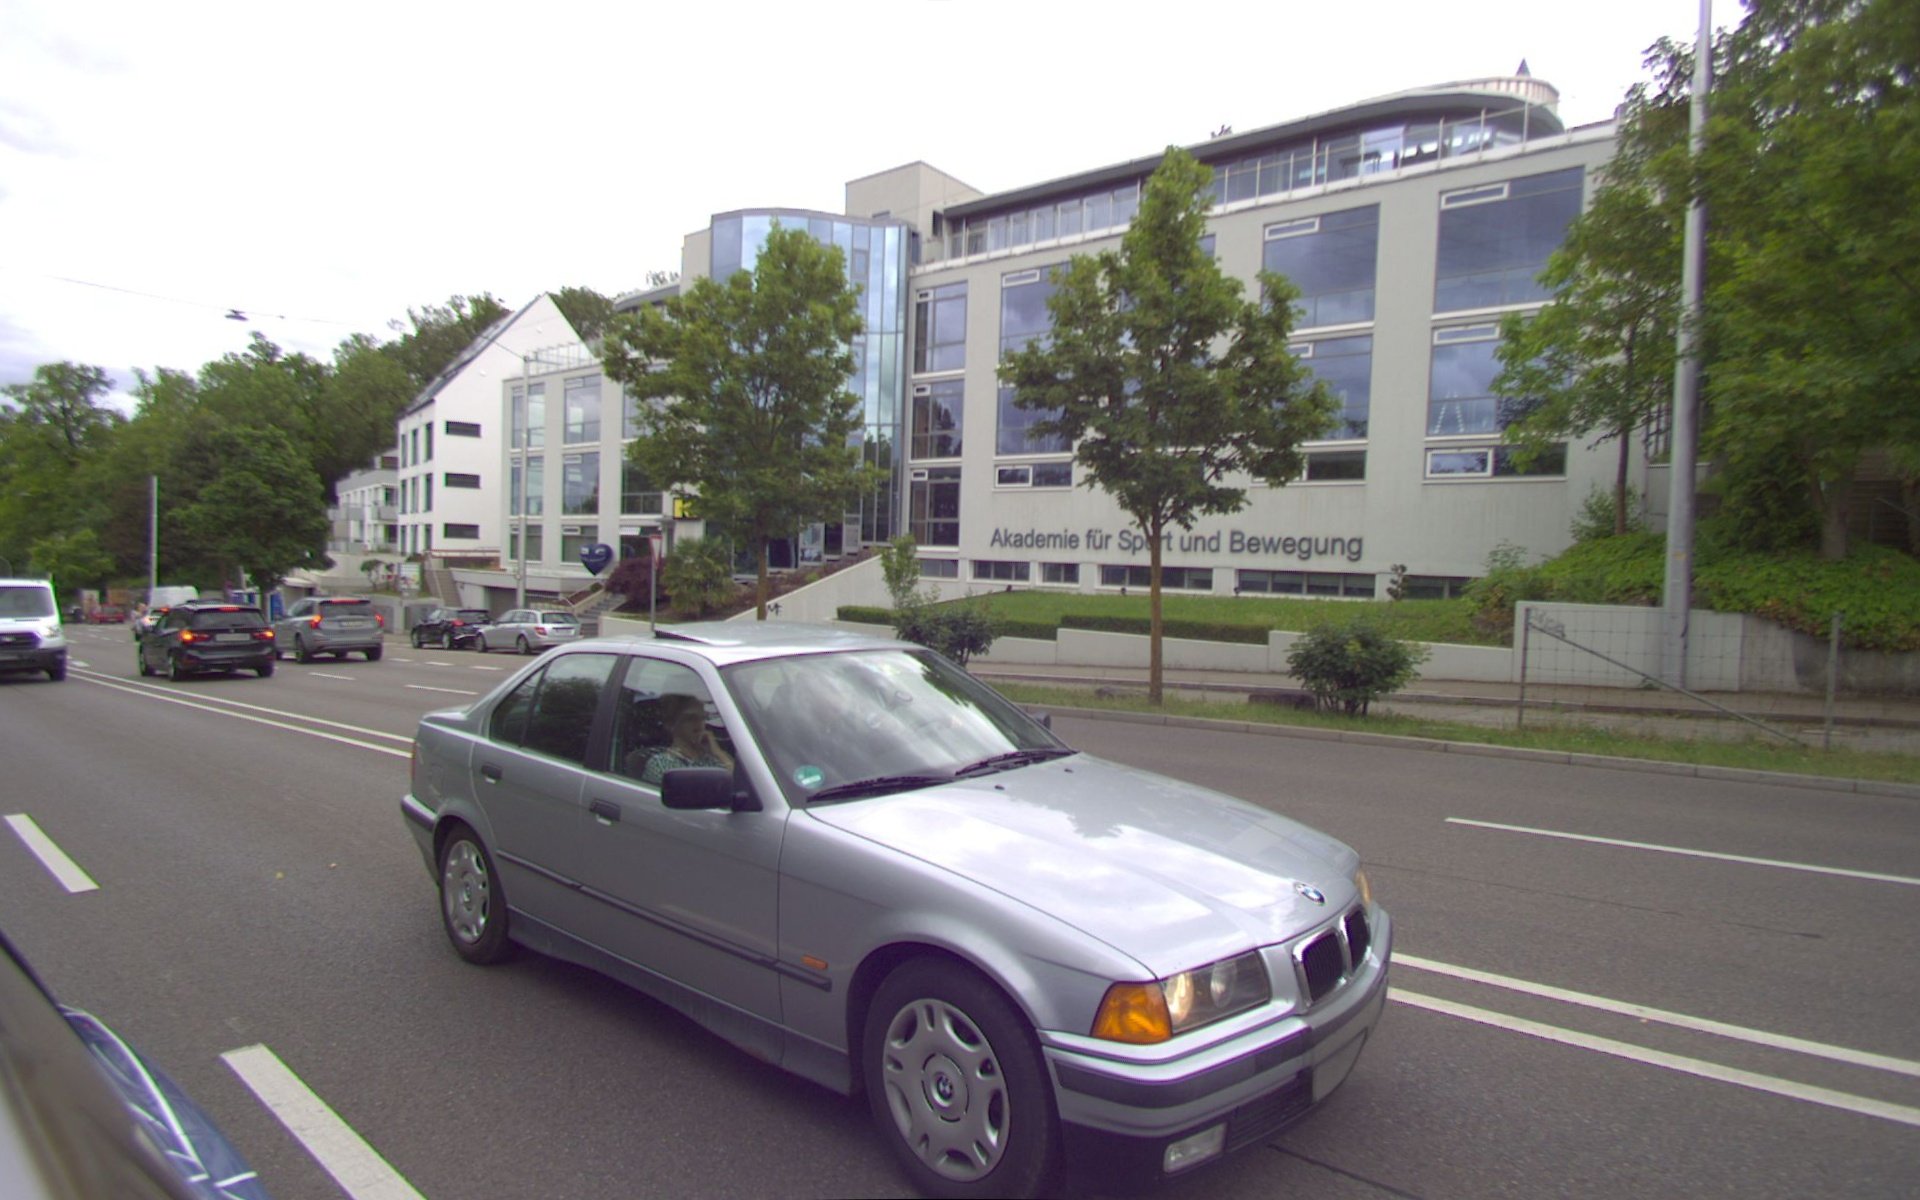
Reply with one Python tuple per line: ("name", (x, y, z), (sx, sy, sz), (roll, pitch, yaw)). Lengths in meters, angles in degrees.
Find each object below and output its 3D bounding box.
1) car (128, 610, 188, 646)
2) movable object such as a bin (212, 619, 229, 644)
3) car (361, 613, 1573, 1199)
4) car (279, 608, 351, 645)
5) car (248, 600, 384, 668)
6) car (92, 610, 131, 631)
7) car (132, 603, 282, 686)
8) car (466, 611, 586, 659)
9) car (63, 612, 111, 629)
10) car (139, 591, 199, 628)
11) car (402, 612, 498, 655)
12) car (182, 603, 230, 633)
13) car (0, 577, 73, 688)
("car", (-37.486, 1.280, 47.283), (1.780, 1.553, 3.924), (0, 0, -45))
("movable object such as a bin", (-34.631, 1.459, 47.377), (0.581, 1.146, 0.646), (-1, 0, -42))
("car", (-0.506, 0.763, 3.809), (4.617, 1.393, 1.618), (-1, 0, 41))
("car", (-27.904, 1.118, 43.739), (4.238, 1.515, 1.650), (-1, -1, 43))
("car", (-17.891, 0.896, 28.007), (4.865, 1.721, 1.746), (-1, 0, 39))
("car", (-63.743, 1.529, 76.020), (3.289, 1.453, 1.564), (-1, 0, 36))
("car", (-16.398, 0.896, 21.968), (4.364, 1.604, 1.745), (-1, 0, 41))
("car", (-14.006, 1.118, 32.555), (4.413, 1.439, 1.656), (-1, -3, 39))
("car", (-79.227, 1.866, 91.869), (1.561, 1.453, 3.295), (-1, 0, 0))
("car", (-57.397, 0.697, 73.403), (6.526, 2.545, 1.974), (-1, 1, 39))
("car", (-18.225, 1.144, 36.083), (4.088, 1.439, 1.655), (-1, -1, 41))
("car", (-46.754, 1.101, 62.758), (1.785, 1.764, 4.253), (-2, 1, -45))
("car", (-21.280, 0.699, 22.056), (6.262, 2.190, 1.974), (-1, -1, 40))
